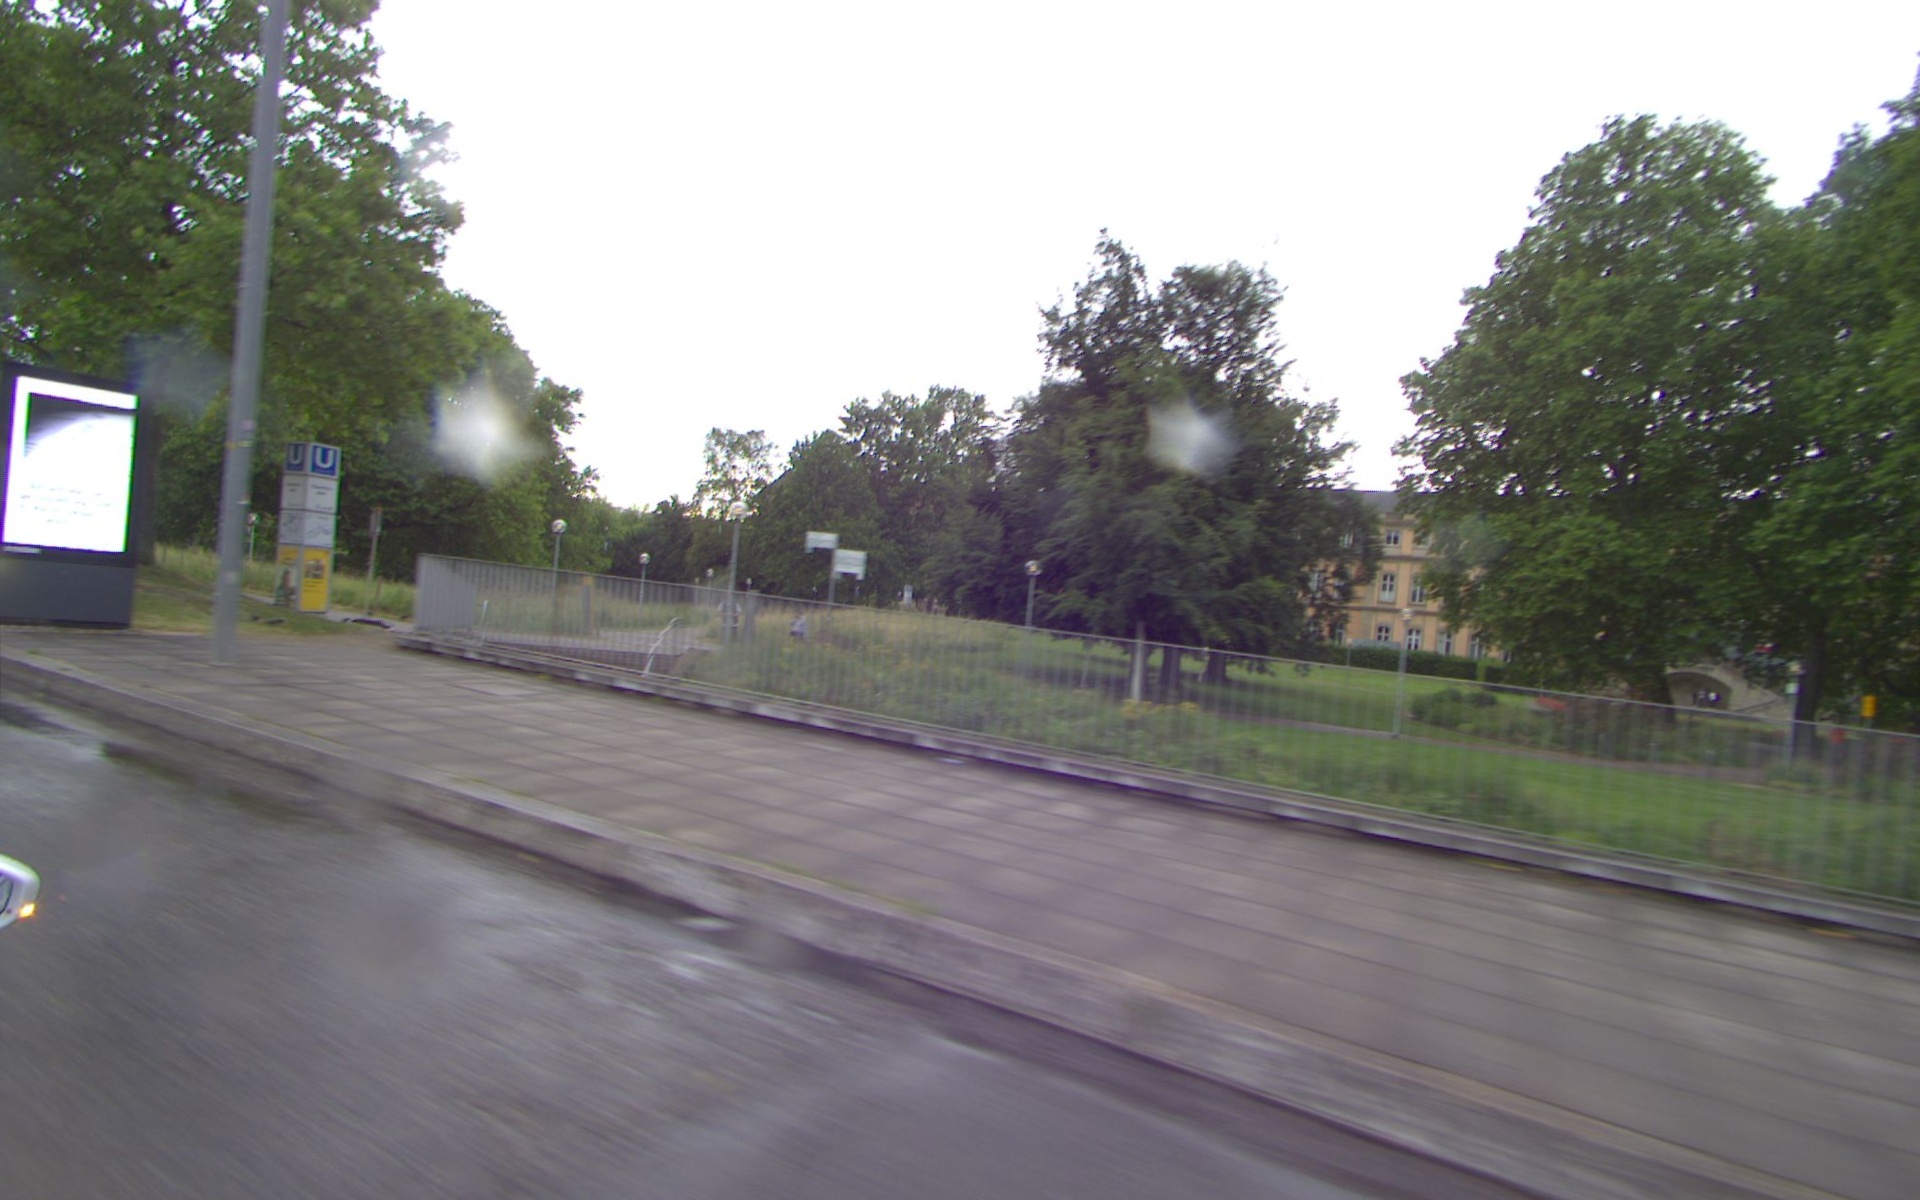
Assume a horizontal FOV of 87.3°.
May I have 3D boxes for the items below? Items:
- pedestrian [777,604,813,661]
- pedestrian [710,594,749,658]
[{"bbox_3d":[-5.218,1.029,31.856,0.638,1.712,0.772,5,-1,29],"label":"pedestrian"},{"bbox_3d":[-6.345,0.731,27.764,0.817,1.661,0.727,6,-1,-7],"label":"pedestrian"}]
